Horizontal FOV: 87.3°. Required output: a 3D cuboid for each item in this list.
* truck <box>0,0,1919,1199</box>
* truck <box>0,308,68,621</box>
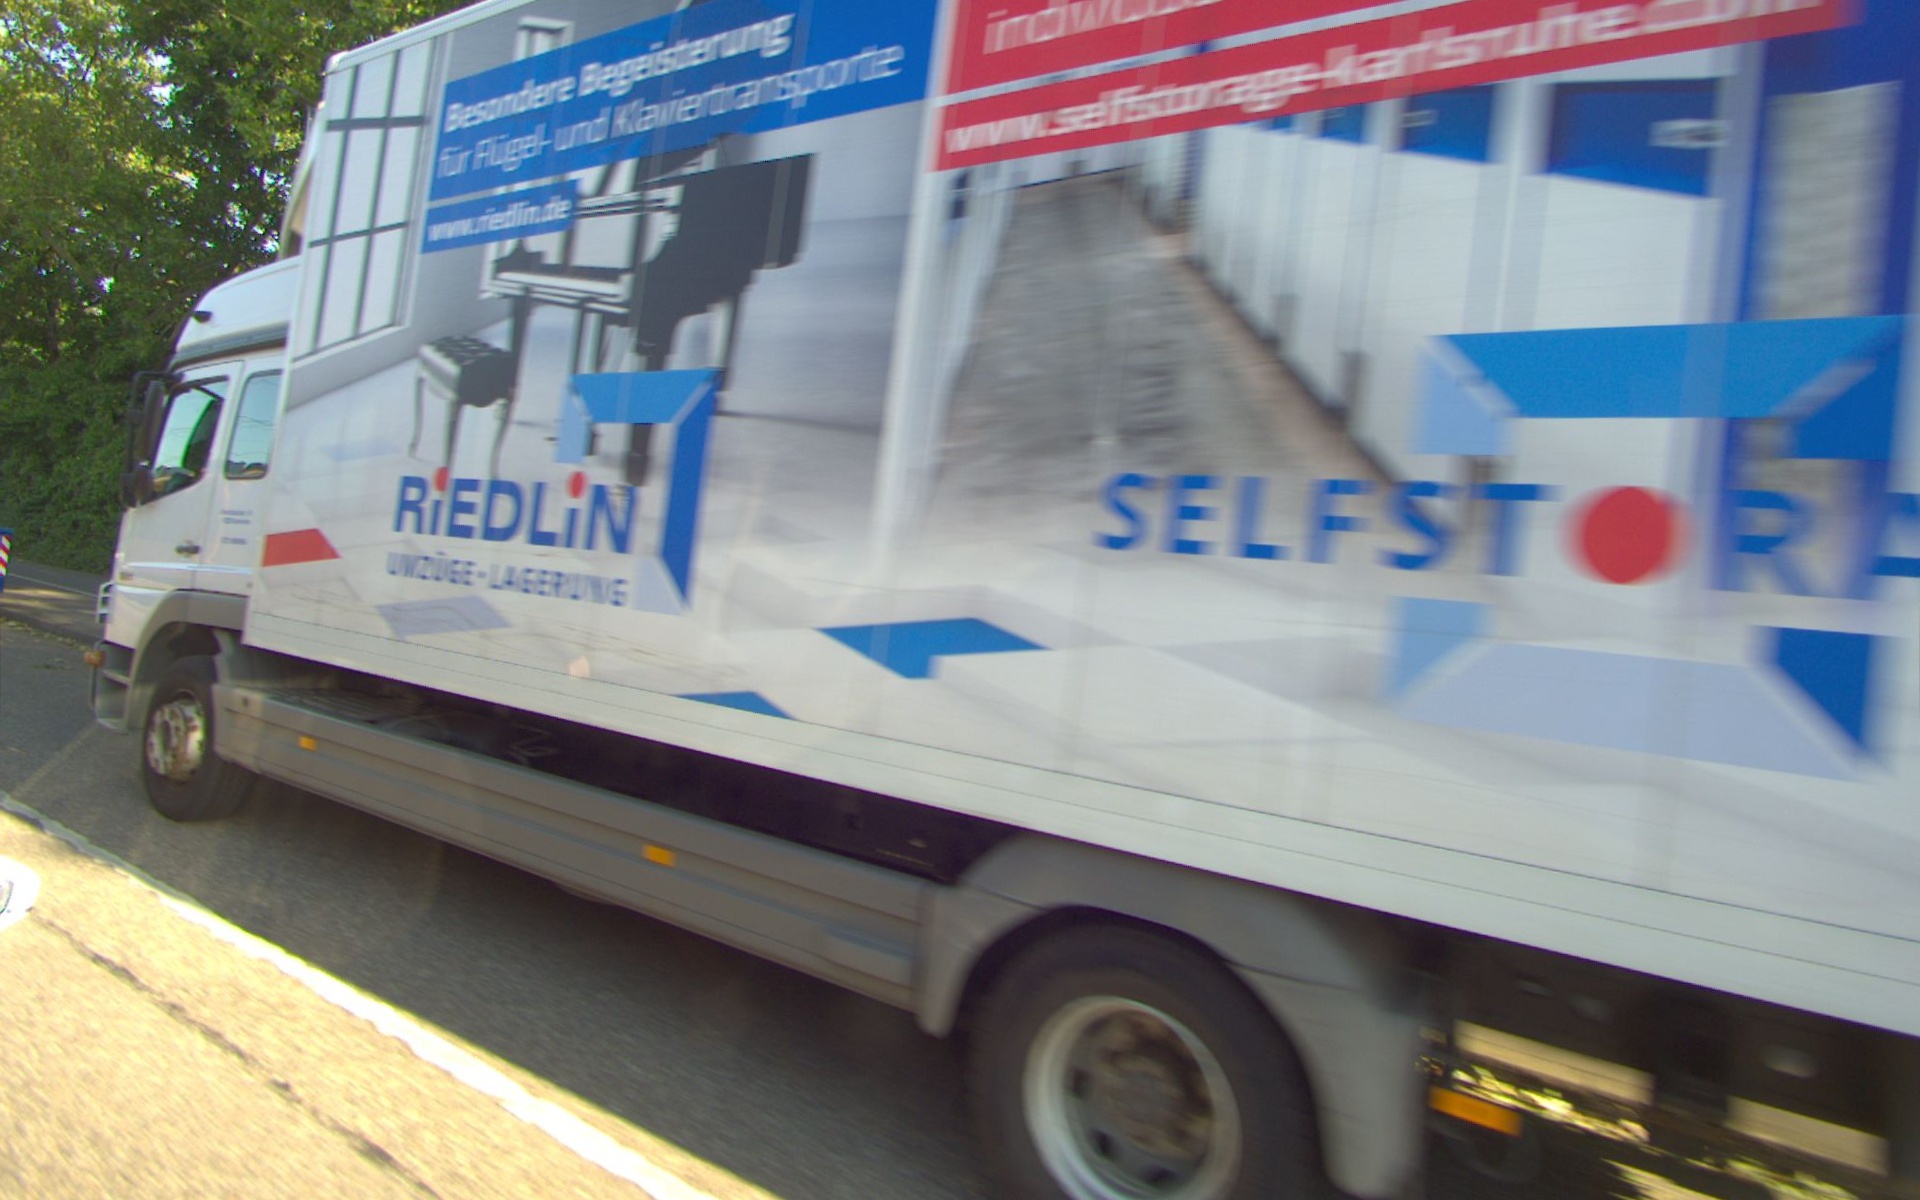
[{"bbox_3d":[-0.513,-0.379,4.475,9.921,3.826,2.748,7,-2,32],"label":"truck"},{"bbox_3d":[-16.489,-2.234,14.273,9.599,3.826,2.723,7,-2,32],"label":"truck"}]
